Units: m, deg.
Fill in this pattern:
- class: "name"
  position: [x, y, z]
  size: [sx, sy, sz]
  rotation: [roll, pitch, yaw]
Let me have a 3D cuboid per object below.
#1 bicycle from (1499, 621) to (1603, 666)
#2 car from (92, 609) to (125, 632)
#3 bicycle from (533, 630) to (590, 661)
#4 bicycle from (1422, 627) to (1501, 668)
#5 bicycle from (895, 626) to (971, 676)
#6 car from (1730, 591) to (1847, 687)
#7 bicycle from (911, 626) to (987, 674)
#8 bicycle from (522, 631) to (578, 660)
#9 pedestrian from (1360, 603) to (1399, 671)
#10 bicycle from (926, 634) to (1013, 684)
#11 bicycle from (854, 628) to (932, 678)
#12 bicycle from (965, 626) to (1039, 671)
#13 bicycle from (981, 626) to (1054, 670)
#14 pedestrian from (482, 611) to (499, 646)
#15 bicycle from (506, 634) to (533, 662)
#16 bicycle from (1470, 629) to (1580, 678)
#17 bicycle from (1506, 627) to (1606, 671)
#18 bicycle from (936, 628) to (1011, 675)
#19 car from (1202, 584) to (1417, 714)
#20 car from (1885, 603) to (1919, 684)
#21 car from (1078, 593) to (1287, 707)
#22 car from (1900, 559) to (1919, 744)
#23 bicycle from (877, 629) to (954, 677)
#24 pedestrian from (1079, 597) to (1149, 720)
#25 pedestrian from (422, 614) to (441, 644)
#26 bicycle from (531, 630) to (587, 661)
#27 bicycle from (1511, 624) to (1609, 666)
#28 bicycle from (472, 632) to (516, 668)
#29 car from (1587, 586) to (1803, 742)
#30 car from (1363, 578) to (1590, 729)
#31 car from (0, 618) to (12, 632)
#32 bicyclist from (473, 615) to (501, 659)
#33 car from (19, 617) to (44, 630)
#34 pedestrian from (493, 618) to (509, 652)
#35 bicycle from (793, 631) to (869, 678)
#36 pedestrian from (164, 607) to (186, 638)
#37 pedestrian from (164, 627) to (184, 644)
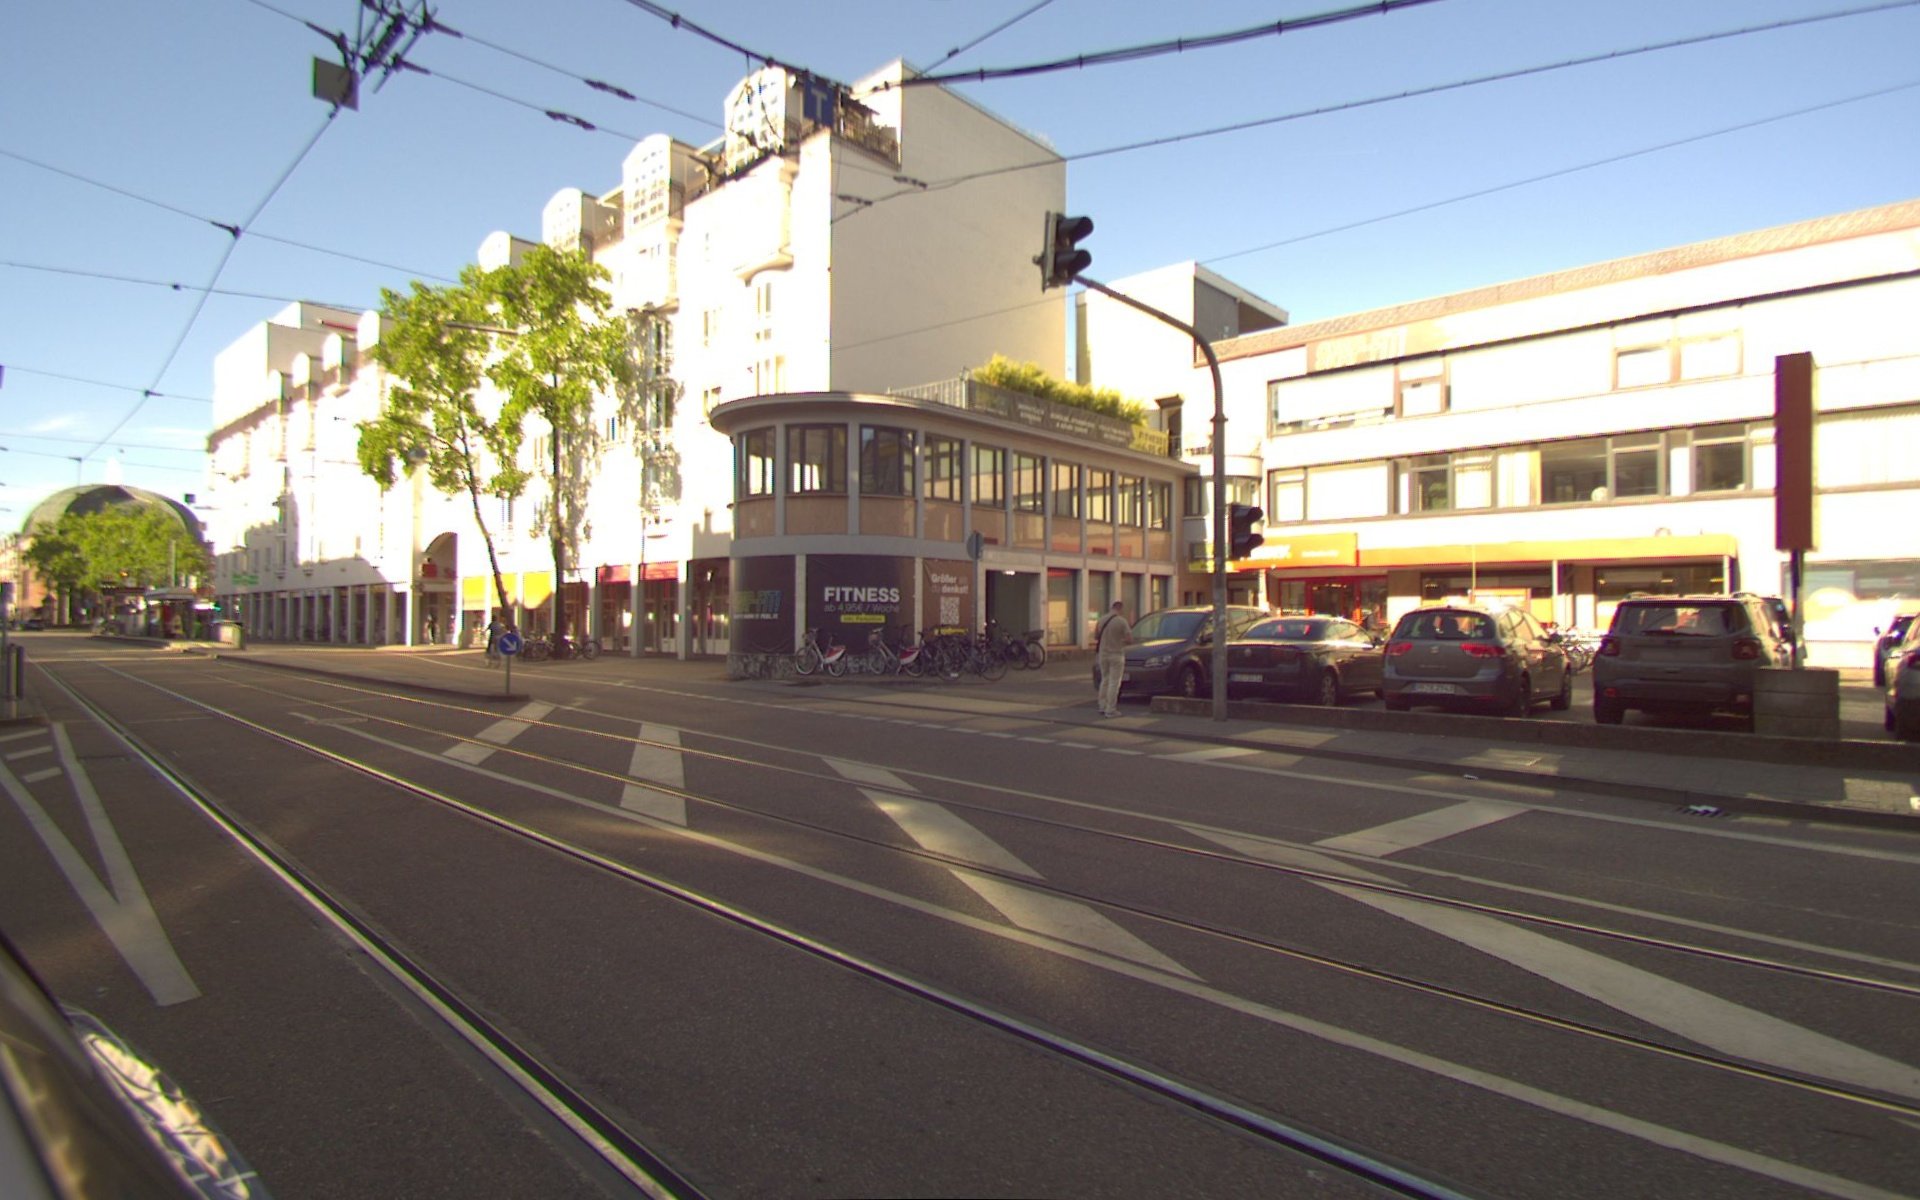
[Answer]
- class: "bicycle"
  position: [14.040, 1.014, 24.084]
  size: [2.061, 1.022, 0.499]
  rotation: [-1, -2, 41]
- class: "car"
  position: [-81.941, 1.962, 97.354]
  size: [3.998, 2.029, 1.860]
  rotation: [-3, -1, 41]
- class: "bicycle"
  position: [-14.367, 1.638, 36.513]
  size: [1.849, 1.085, 0.465]
  rotation: [1, -2, -39]
- class: "bicycle"
  position: [12.964, 1.204, 26.200]
  size: [0.363, 1.022, 1.827]
  rotation: [1, -2, -43]
- class: "bicycle"
  position: [-0.632, 1.160, 23.293]
  size: [1.875, 1.095, 0.459]
  rotation: [-1, -2, 36]
- class: "car"
  position: [16.875, 0.757, 20.603]
  size: [1.695, 1.762, 3.541]
  rotation: [-1, -2, 40]
- class: "bicycle"
  position: [-0.266, 1.161, 23.772]
  size: [1.875, 1.085, 0.459]
  rotation: [-1, -2, 36]
- class: "bicycle"
  position: [-15.278, 1.683, 37.747]
  size: [1.849, 1.085, 0.465]
  rotation: [1, -2, -39]
- class: "pedestrian"
  position: [10.363, 0.920, 24.998]
  size: [0.691, 1.646, 0.631]
  rotation: [-1, -2, 42]
- class: "bicycle"
  position: [0.210, 1.261, 21.829]
  size: [1.847, 1.044, 0.427]
  rotation: [1, -2, -22]
- class: "bicycle"
  position: [-1.505, 1.161, 22.583]
  size: [1.875, 1.088, 0.459]
  rotation: [-1, -2, 36]
- class: "bicycle"
  position: [1.034, 1.189, 25.220]
  size: [1.874, 1.085, 0.459]
  rotation: [-1, -2, 34]
- class: "bicycle"
  position: [1.446, 1.203, 25.620]
  size: [1.874, 1.085, 0.459]
  rotation: [-1, -2, 34]
- class: "pedestrian"
  position: [-22.734, 1.388, 49.012]
  size: [0.523, 1.657, 0.556]
  rotation: [-1, -2, 43]
- class: "bicycle"
  position: [-15.824, 1.709, 36.364]
  size: [0.463, 0.939, 1.758]
  rotation: [1, -1, -37]
- class: "bicycle"
  position: [12.542, 1.166, 22.512]
  size: [2.061, 1.022, 0.504]
  rotation: [-1, -2, 41]
- class: "bicycle"
  position: [14.615, 1.188, 24.871]
  size: [2.061, 1.022, 0.490]
  rotation: [-1, -2, 41]
- class: "bicycle"
  position: [0.309, 1.233, 24.366]
  size: [1.874, 1.085, 0.459]
  rotation: [-1, -2, 34]
- class: "car"
  position: [5.777, 0.734, 16.444]
  size: [1.785, 1.826, 4.187]
  rotation: [-1, -2, 42]
- class: "car"
  position: [19.346, 0.892, 19.834]
  size: [1.626, 1.493, 3.599]
  rotation: [2, -1, 40]
- class: "car"
  position: [4.055, 0.798, 18.035]
  size: [1.785, 1.777, 4.187]
  rotation: [-1, -1, 42]
- class: "car"
  position: [11.507, 0.602, 11.021]
  size: [1.785, 1.825, 4.187]
  rotation: [2, -1, 42]
- class: "bicycle"
  position: [-1.021, 1.185, 22.952]
  size: [1.875, 1.044, 0.459]
  rotation: [-1, -2, 36]
- class: "pedestrian"
  position: [2.336, 0.860, 15.331]
  size: [0.778, 1.777, 0.707]
  rotation: [-1, 1, 36]
- class: "pedestrian"
  position: [-29.599, 1.619, 56.704]
  size: [0.731, 1.657, 0.737]
  rotation: [-1, -2, 43]
- class: "bicycle"
  position: [-14.630, 1.651, 36.949]
  size: [1.849, 1.085, 0.465]
  rotation: [1, -2, -39]
- class: "bicycle"
  position: [15.083, 1.118, 25.481]
  size: [2.061, 1.022, 0.499]
  rotation: [-1, -2, 41]
- class: "bicycle"
  position: [-15.165, 1.613, 32.902]
  size: [2.004, 1.132, 0.557]
  rotation: [-1, -2, 43]
- class: "car"
  position: [9.448, 0.737, 12.905]
  size: [1.785, 1.685, 3.649]
  rotation: [-1, -2, 43]
- class: "car"
  position: [7.424, 0.685, 14.354]
  size: [1.785, 1.826, 4.187]
  rotation: [-1, -2, 43]
- class: "car"
  position: [-136.839, 3.562, 144.363]
  size: [3.997, 1.918, 1.973]
  rotation: [-1, -2, 41]
- class: "bicyclist"
  position: [-15.343, 1.197, 32.823]
  size: [0.719, 1.372, 0.556]
  rotation: [0, -2, 43]
- class: "car"
  position: [-115.385, 2.920, 125.776]
  size: [4.000, 1.630, 1.971]
  rotation: [-2, -2, 43]
- class: "pedestrian"
  position: [-22.452, 1.723, 49.510]
  size: [0.523, 1.657, 0.556]
  rotation: [-1, -2, 43]
- class: "bicycle"
  position: [-2.940, 1.218, 22.969]
  size: [1.875, 1.044, 0.519]
  rotation: [-1, -2, 36]
- class: "pedestrian"
  position: [-42.924, 1.246, 55.325]
  size: [0.748, 1.657, 0.784]
  rotation: [1, -1, 43]
- class: "pedestrian"
  position: [-45.508, 2.063, 58.588]
  size: [0.748, 0.996, 0.784]
  rotation: [-1, -2, 43]
